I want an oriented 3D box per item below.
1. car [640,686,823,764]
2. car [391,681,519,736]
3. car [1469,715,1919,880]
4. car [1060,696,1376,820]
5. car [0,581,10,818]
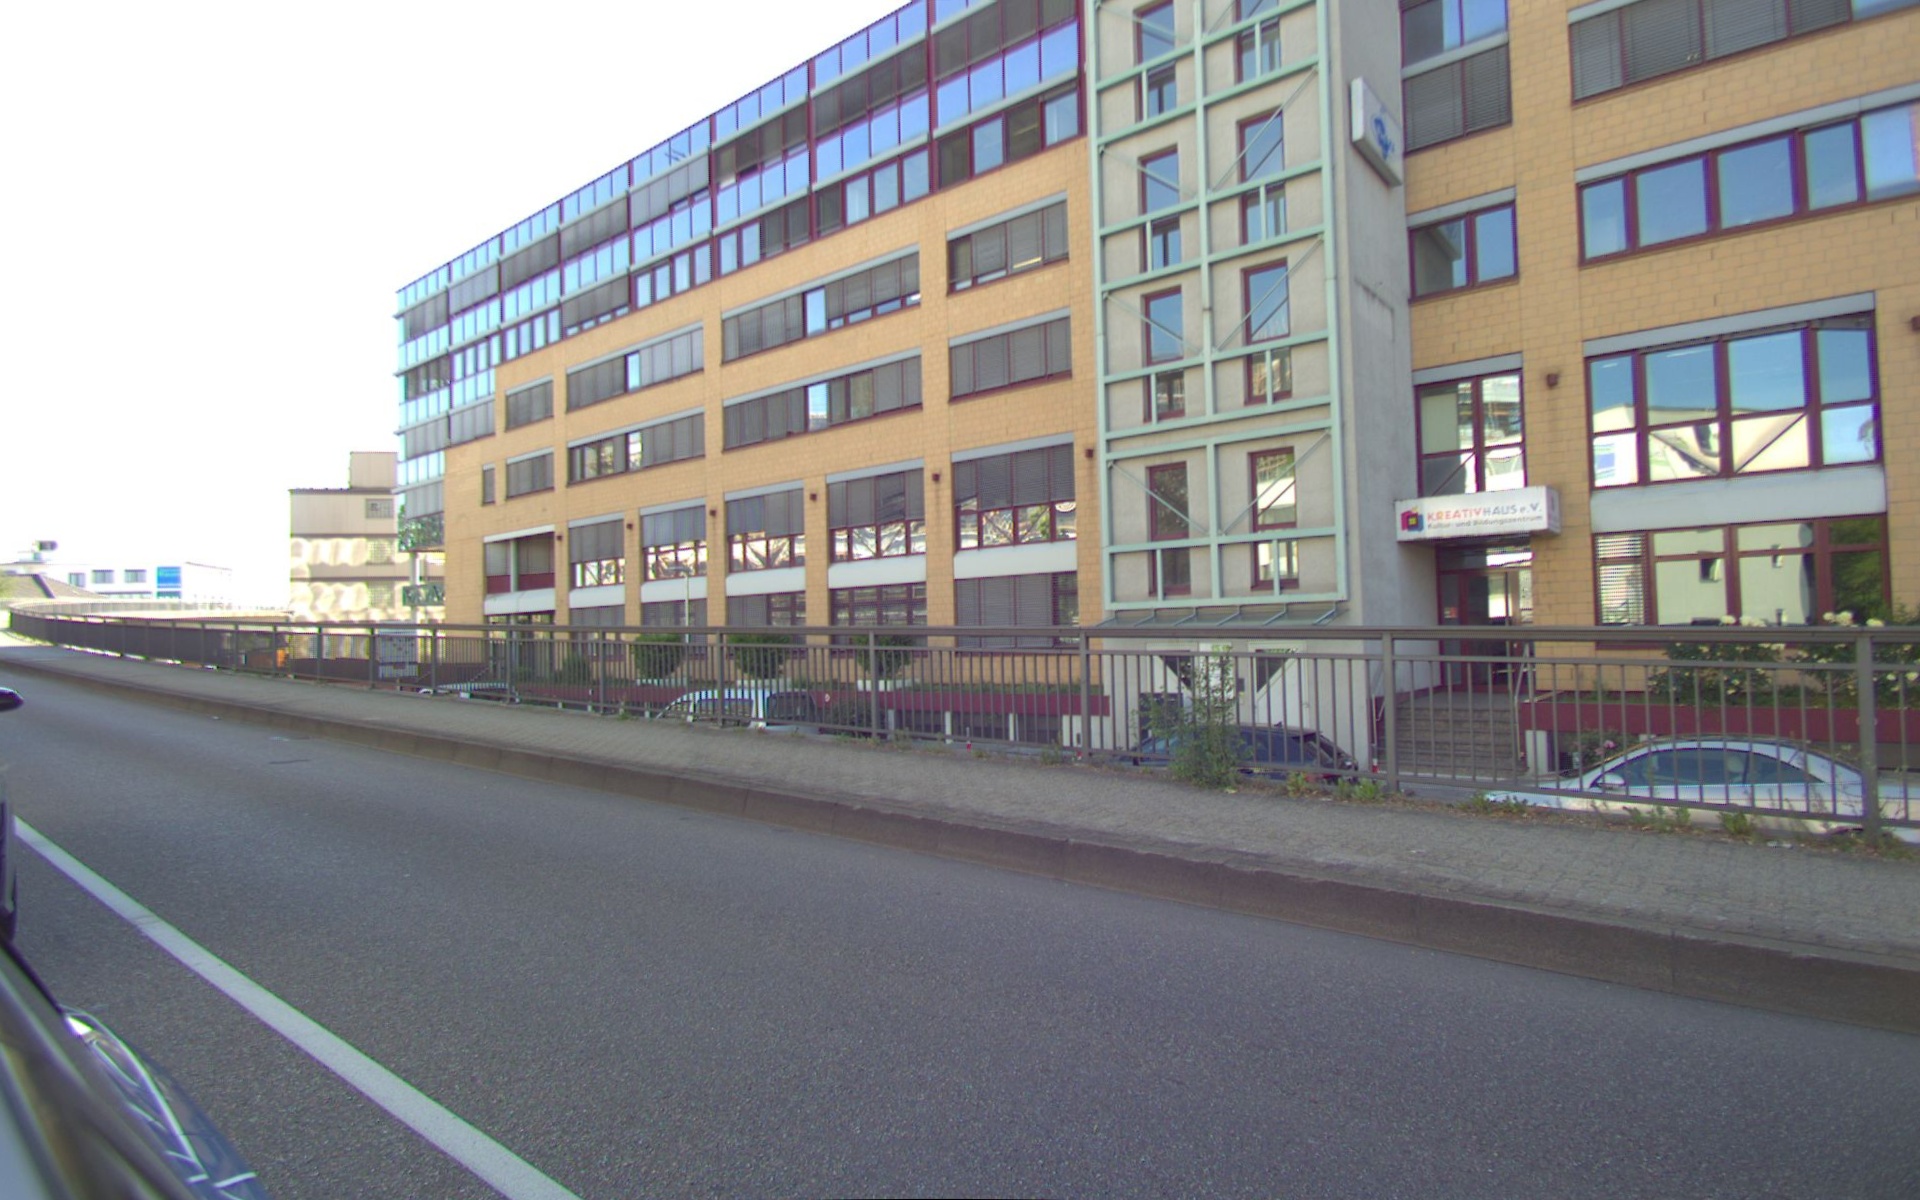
[{"bbox_3d":[-4.602,2.419,20.135,3.805,1.279,1.560,-3,-4,40],"label":"car"},{"bbox_3d":[-13.828,2.920,27.634,3.805,1.279,1.744,-3,-4,40],"label":"car"},{"bbox_3d":[7.677,1.881,10.214,4.254,1.175,1.704,-3,-4,40],"label":"car"},{"bbox_3d":[3.368,2.008,13.601,3.805,1.279,1.560,-3,-4,40],"label":"car"},{"bbox_3d":[-5.852,0.795,4.666,3.998,1.660,1.726,-3,-4,41],"label":"car"}]
